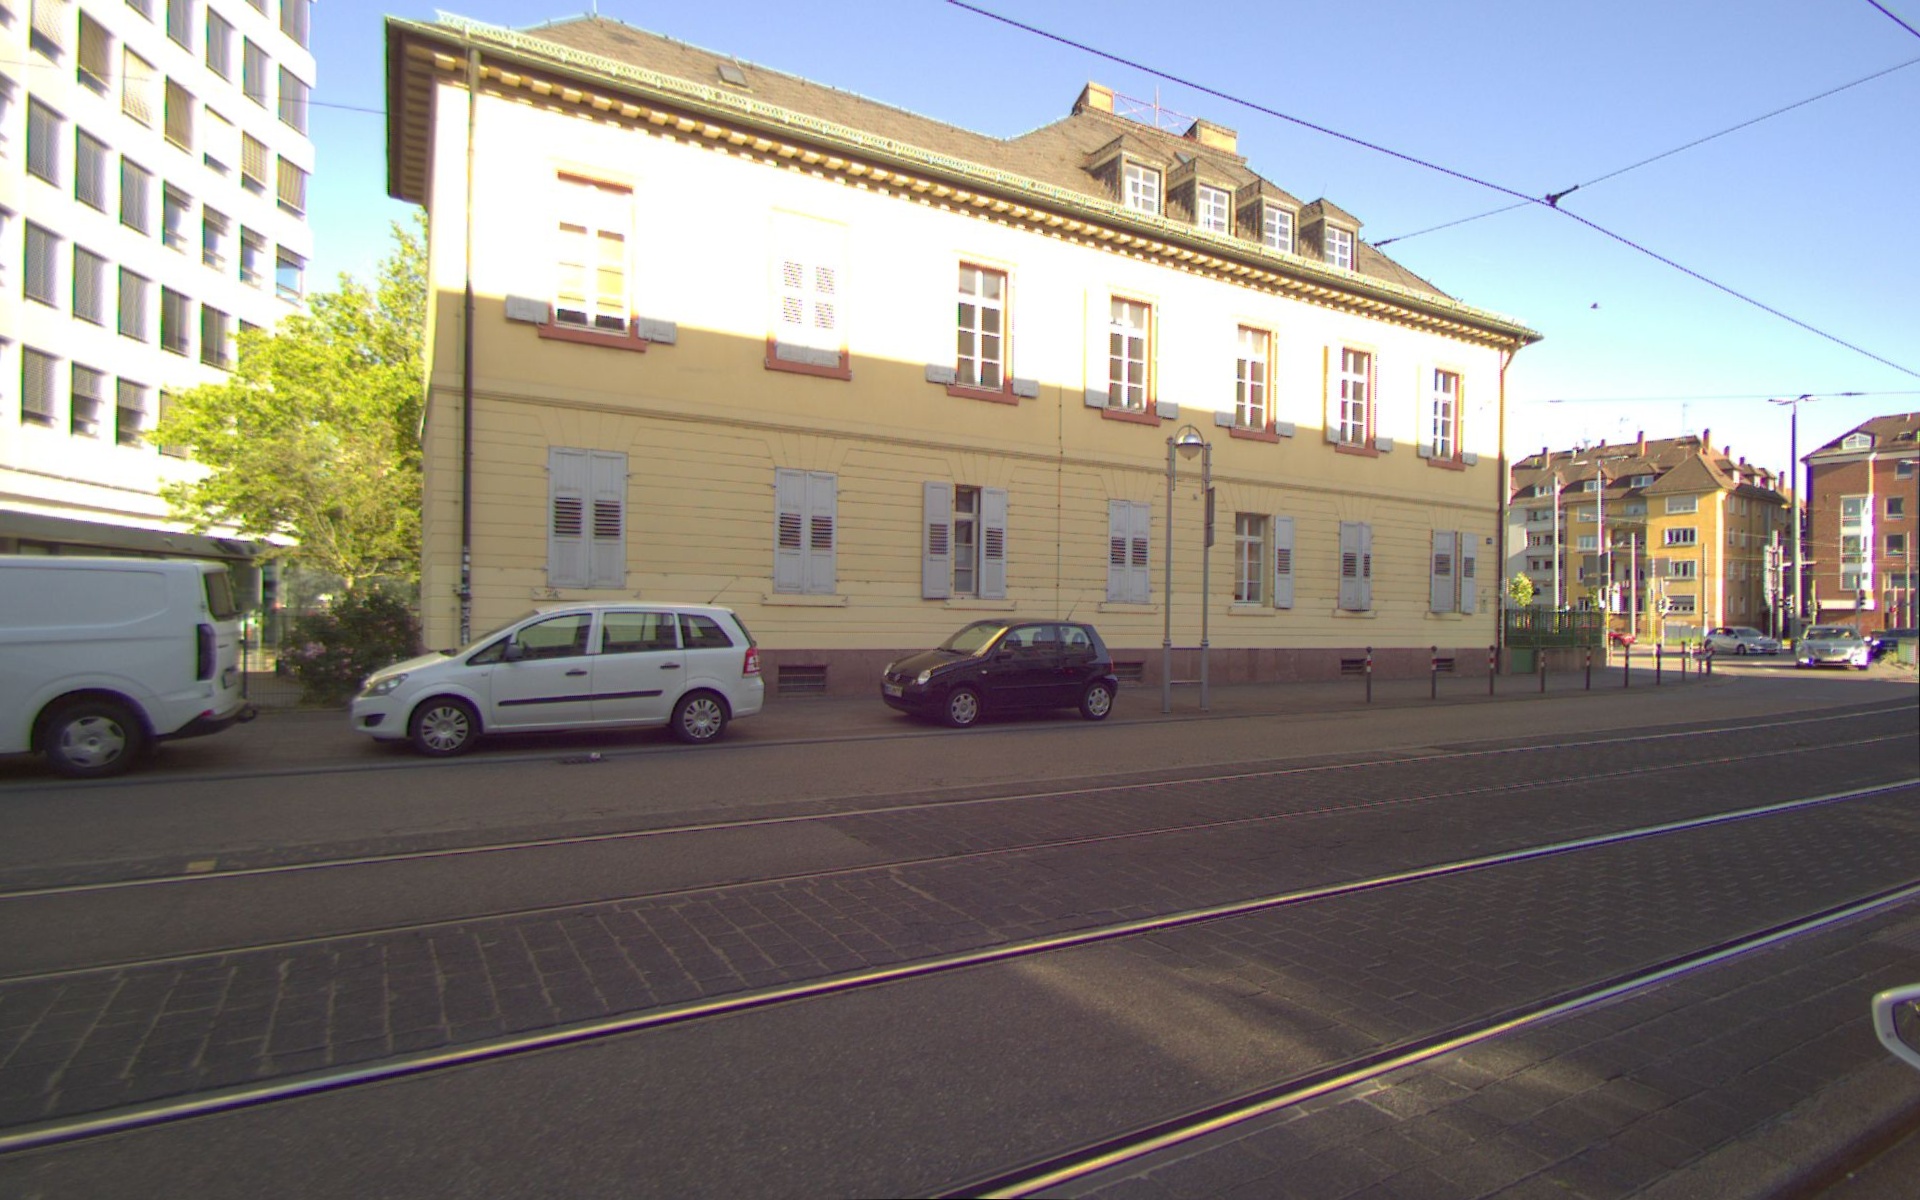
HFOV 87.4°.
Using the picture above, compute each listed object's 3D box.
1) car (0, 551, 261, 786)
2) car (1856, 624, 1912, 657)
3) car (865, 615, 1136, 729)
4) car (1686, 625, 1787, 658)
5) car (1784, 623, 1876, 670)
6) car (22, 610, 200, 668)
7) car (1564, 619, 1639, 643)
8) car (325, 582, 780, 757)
[{"bbox_3d":[-9.411,0.534,8.943,5.038,2.001,1.983,2,1,-31],"label":"car"},{"bbox_3d":[45.834,1.982,49.798,4.250,1.532,1.747,2,-1,-44],"label":"car"},{"bbox_3d":[0.630,1.001,14.772,3.677,1.419,1.606,2,1,-31],"label":"car"},{"bbox_3d":[43.537,2.304,56.464,1.781,1.577,4.603,2,1,-6],"label":"car"},{"bbox_3d":[29.810,1.557,34.363,4.895,1.515,1.863,2,-2,-43],"label":"car"},{"bbox_3d":[-23.128,1.037,27.583,1.792,1.439,3.996,2,-1,-7],"label":"car"},{"bbox_3d":[45.715,2.178,71.603,1.922,1.510,4.113,1,0,-38],"label":"car"},{"bbox_3d":[-4.613,0.730,11.770,4.590,1.708,1.800,2,1,-28],"label":"car"}]
